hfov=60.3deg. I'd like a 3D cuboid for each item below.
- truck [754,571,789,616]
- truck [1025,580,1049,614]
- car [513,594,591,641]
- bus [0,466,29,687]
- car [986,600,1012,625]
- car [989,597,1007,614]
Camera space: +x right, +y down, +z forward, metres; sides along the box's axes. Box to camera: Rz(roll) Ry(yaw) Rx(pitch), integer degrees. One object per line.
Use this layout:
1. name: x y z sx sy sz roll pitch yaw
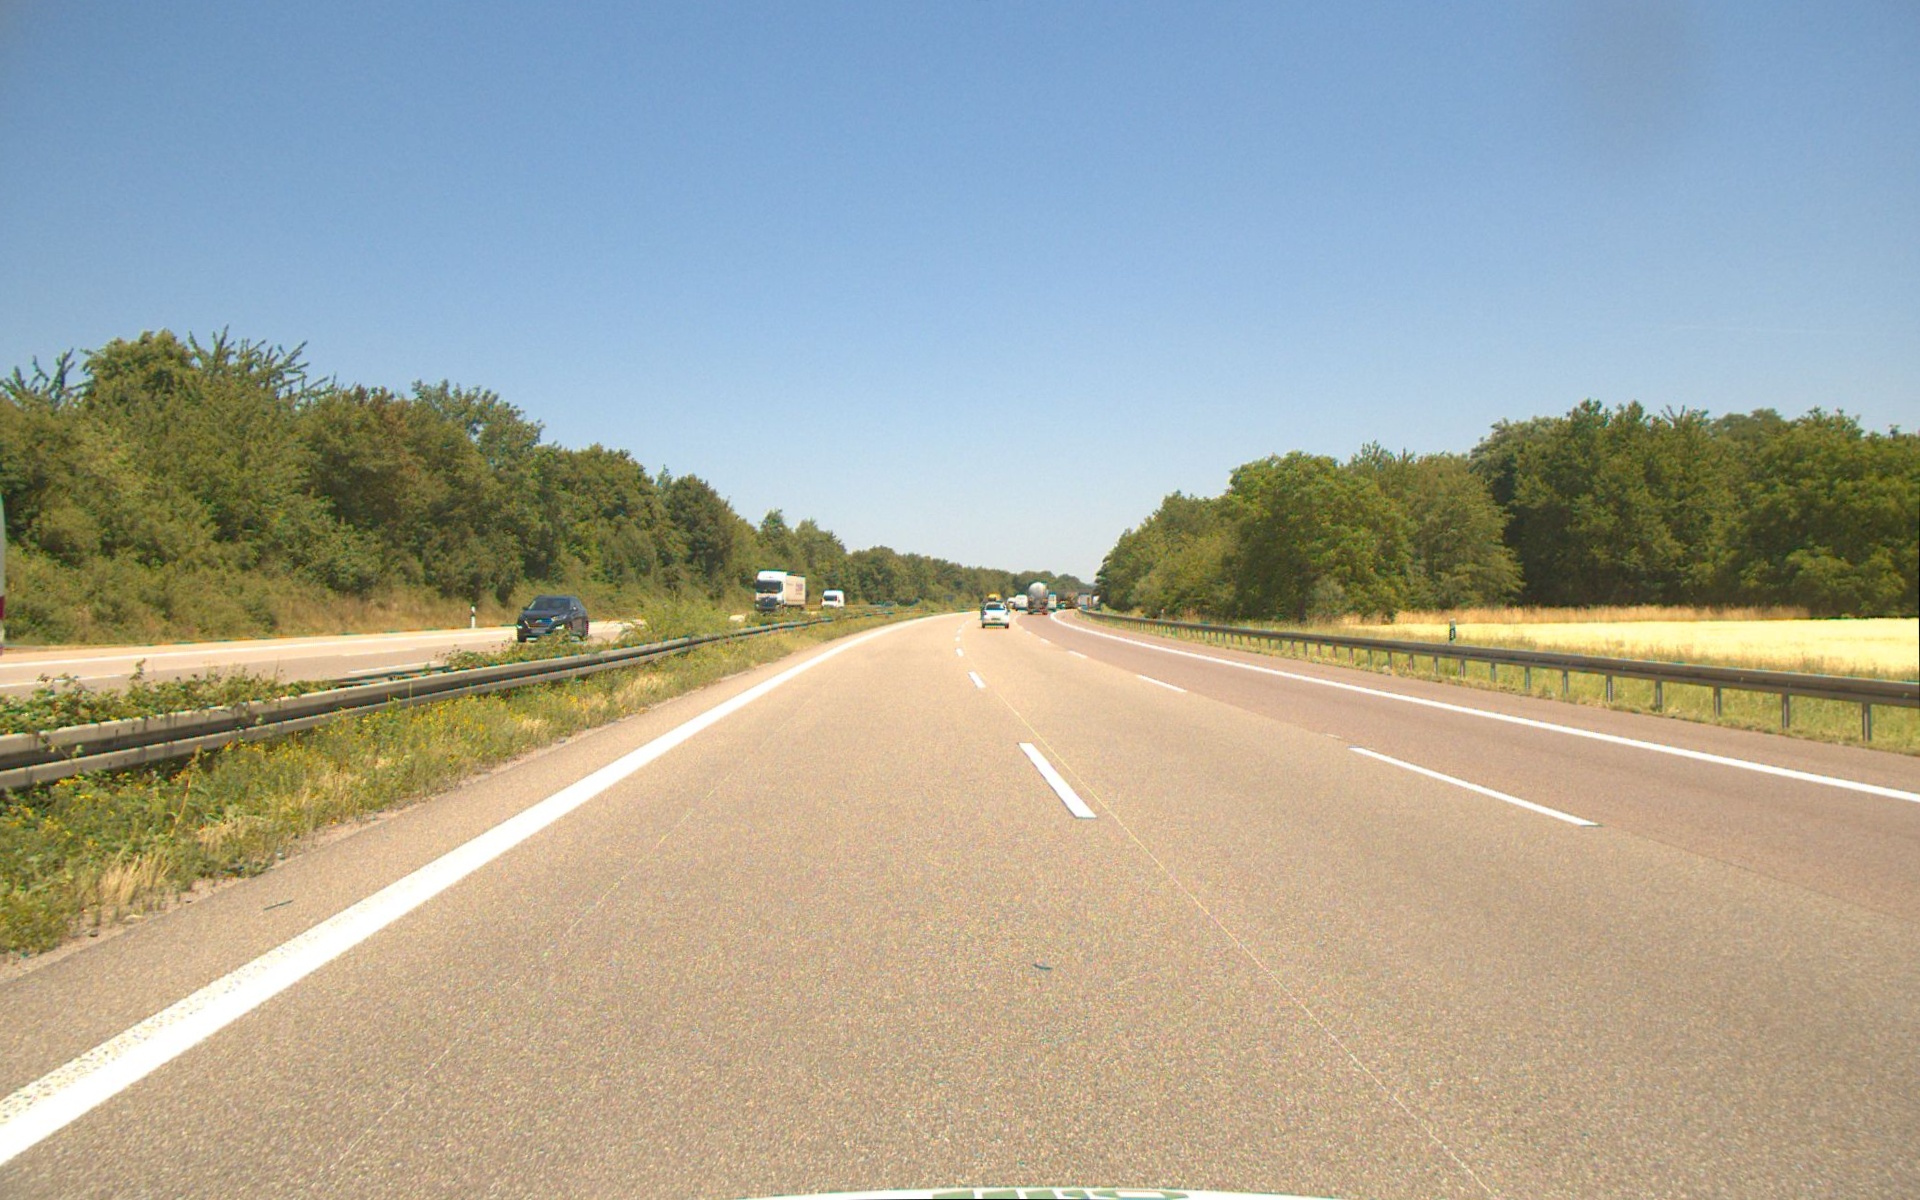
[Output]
1. truck: -17.302 -0.616 152.078 2.646 4.035 4.443 0 0 0
2. truck: 9.686 -0.313 209.050 2.683 4.123 10.454 0 0 1
3. car: -14.778 0.617 60.119 1.788 1.660 4.558 0 0 -1
4. bus: -17.694 -0.436 22.625 2.685 3.772 12.997 1 0 -1
5. car: 2.382 0.777 101.475 1.594 1.505 4.000 0 0 1
6. car: 4.738 0.705 205.011 1.951 2.049 4.002 -1 0 5
